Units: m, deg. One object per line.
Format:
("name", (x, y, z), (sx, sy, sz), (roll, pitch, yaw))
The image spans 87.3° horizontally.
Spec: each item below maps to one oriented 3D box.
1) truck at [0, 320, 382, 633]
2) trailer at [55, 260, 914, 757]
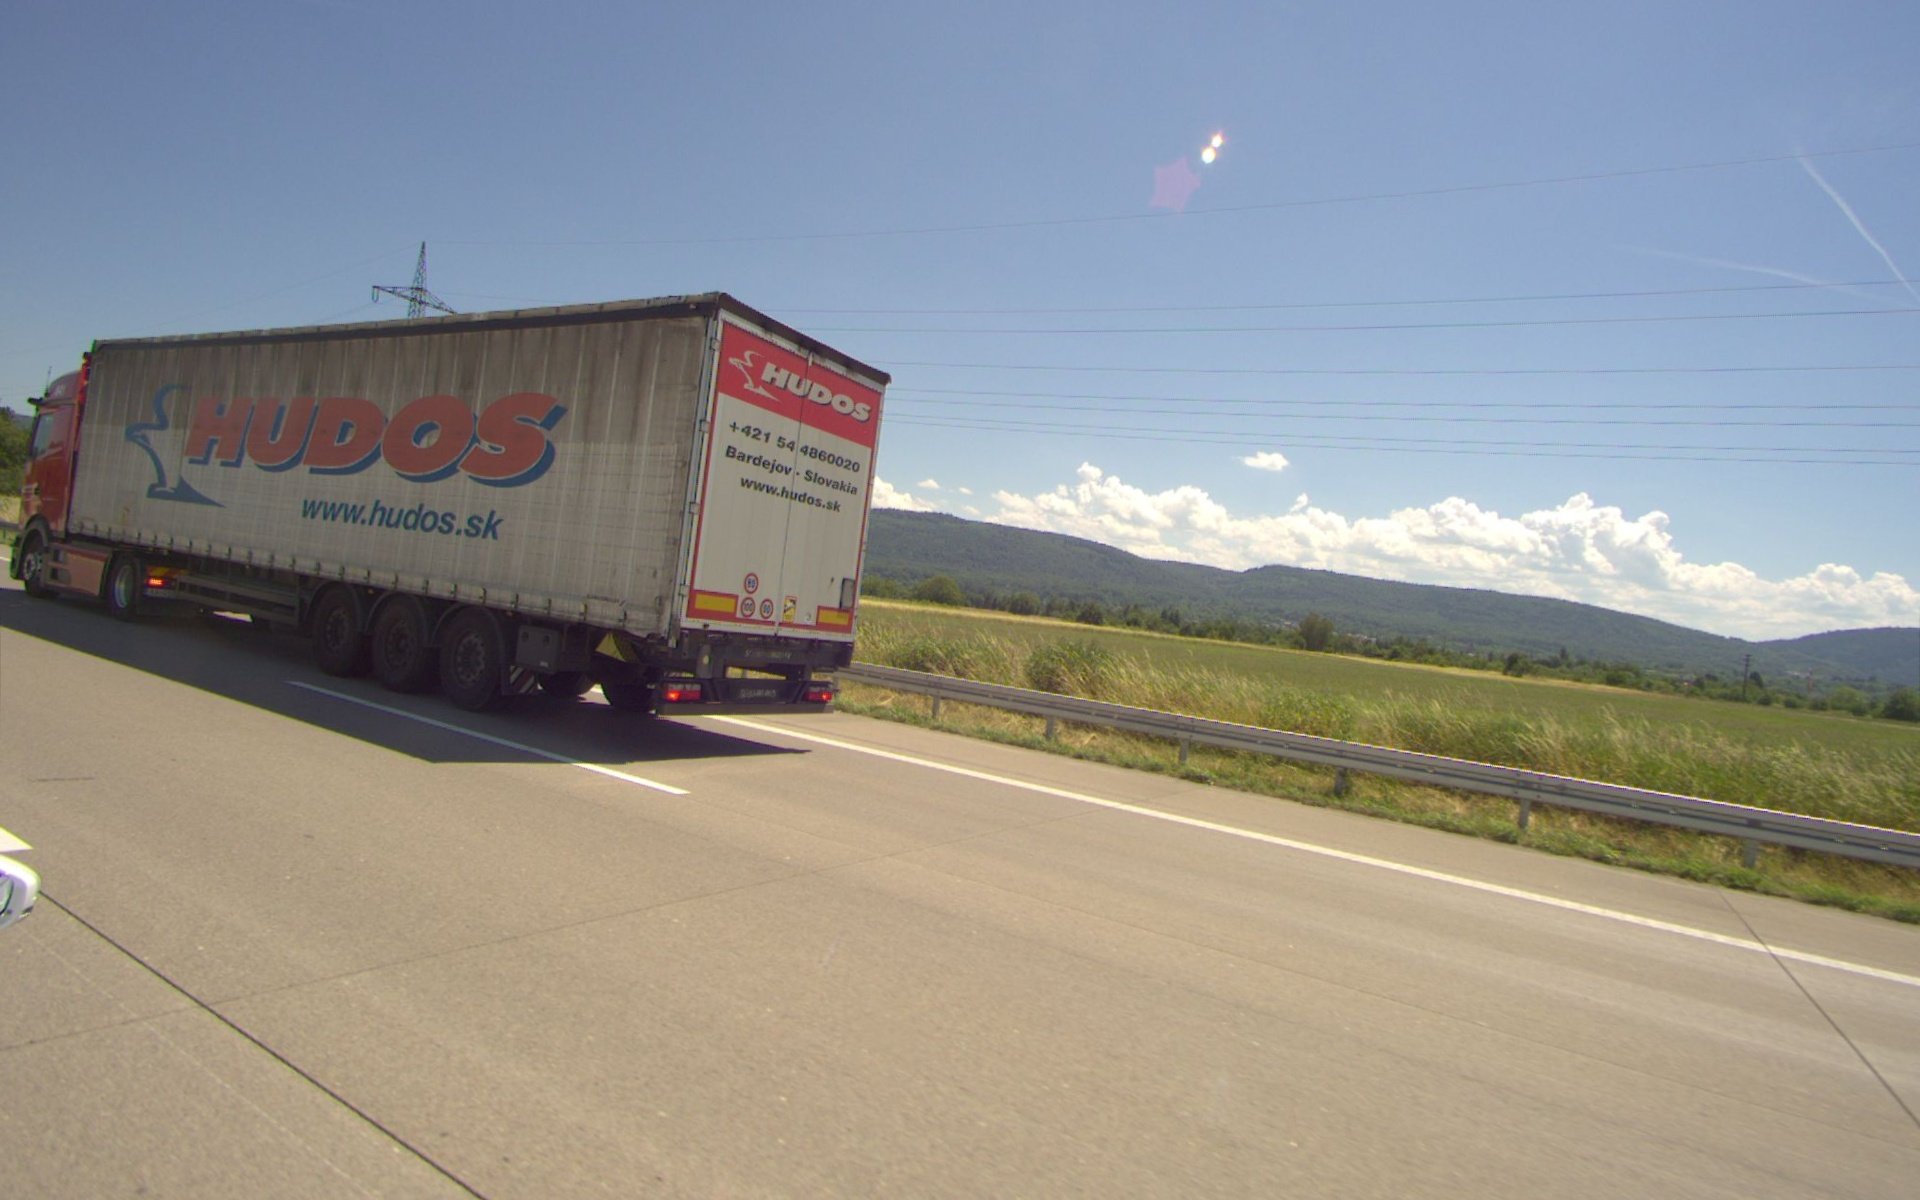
("truck", (-13.063, -1.987, 16.785), (6.167, 4.148, 2.911), (7, -1, 31))
("trailer", (-7.108, -1.280, 13.029), (13.287, 4.148, 2.879), (7, -1, 32))
